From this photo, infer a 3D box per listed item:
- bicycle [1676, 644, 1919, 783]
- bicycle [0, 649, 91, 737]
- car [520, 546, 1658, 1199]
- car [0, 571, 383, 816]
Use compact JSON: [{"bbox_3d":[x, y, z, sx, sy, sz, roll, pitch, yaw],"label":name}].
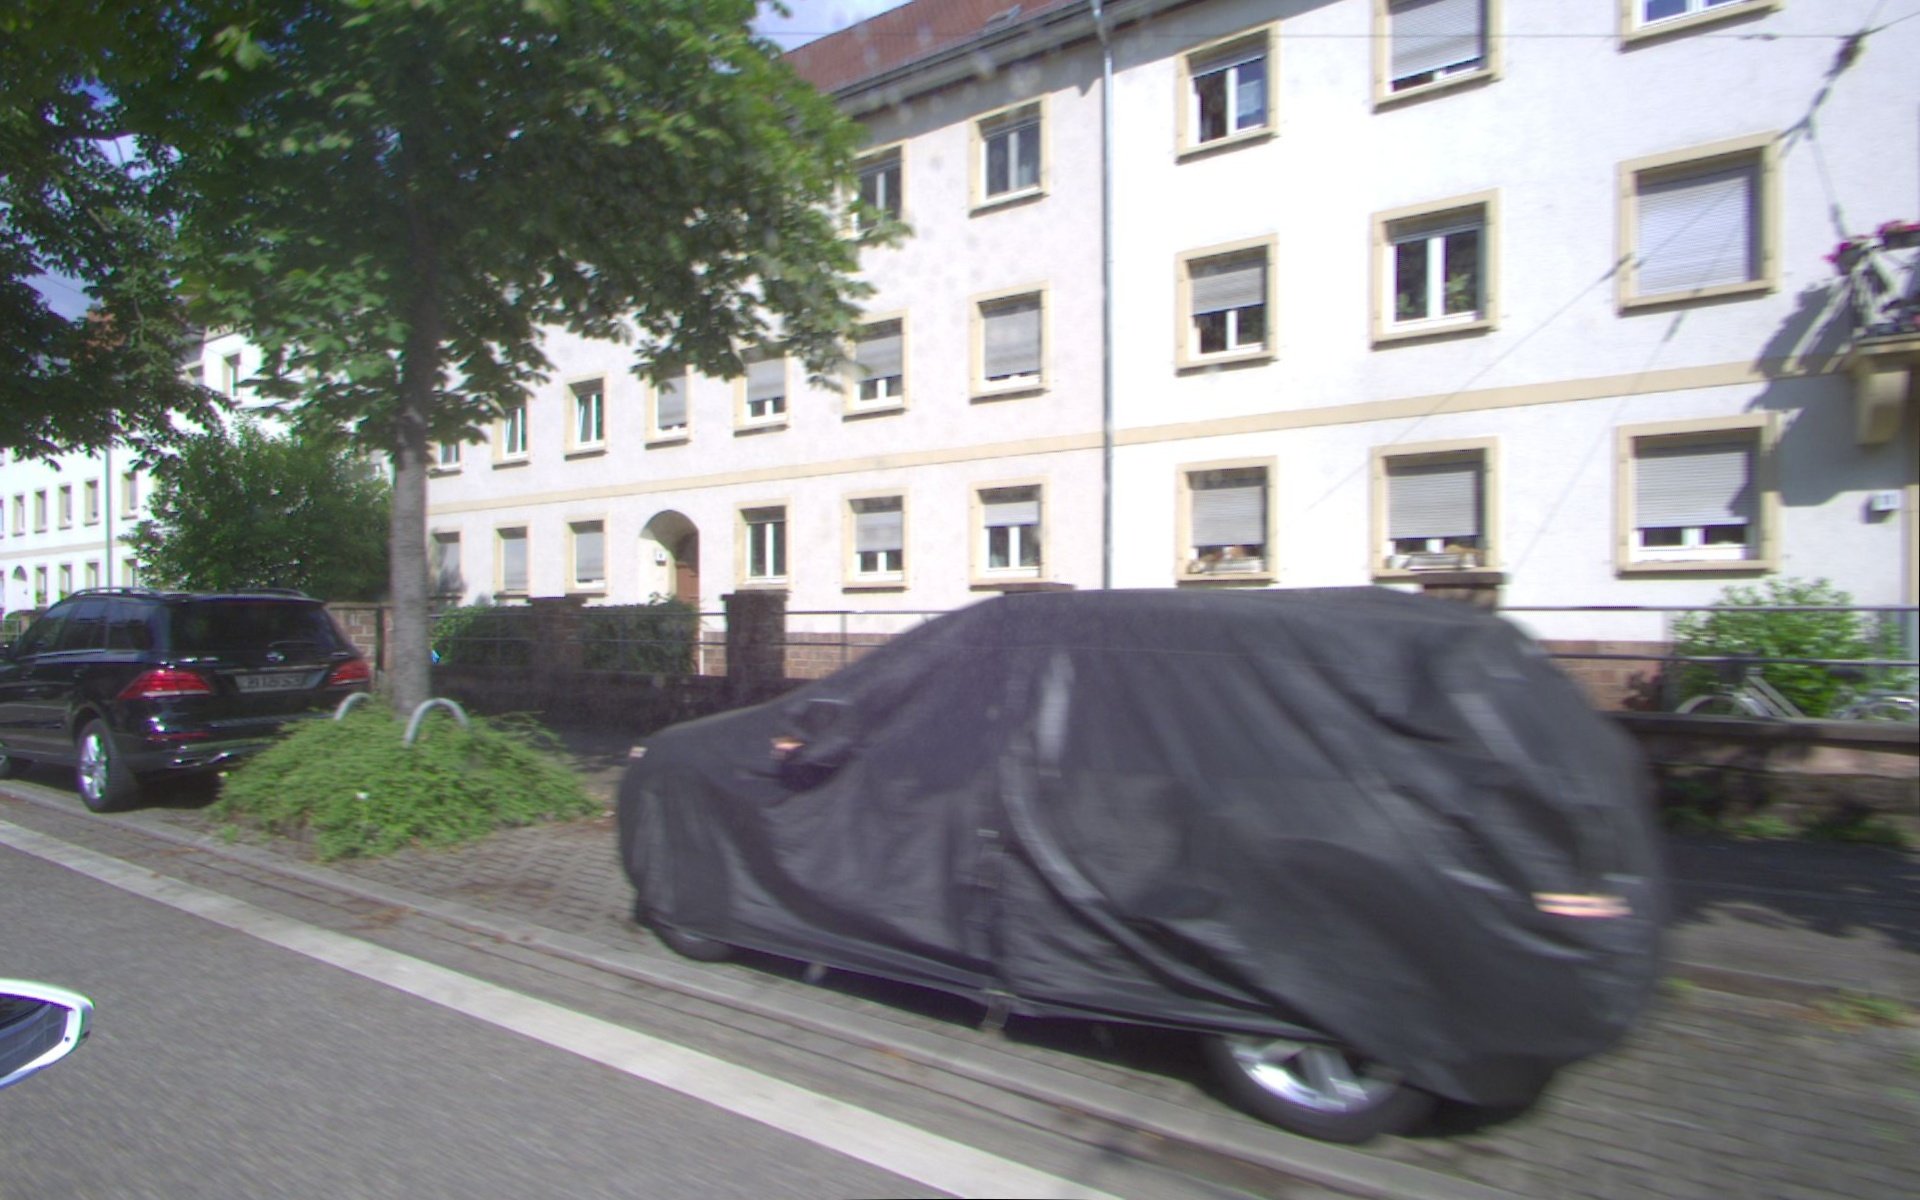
[{"bbox_3d":[6.622,0.854,7.818,1.655,0.977,0.536,-1,0,33],"label":"bicycle"},{"bbox_3d":[-11.754,1.135,12.162,0.629,1.020,1.704,0,0,32],"label":"bicycle"},{"bbox_3d":[0.265,0.741,4.472,4.571,1.674,1.859,-1,-1,32],"label":"car"},{"bbox_3d":[-7.609,0.708,9.428,4.665,1.806,1.823,0,0,32],"label":"car"}]
